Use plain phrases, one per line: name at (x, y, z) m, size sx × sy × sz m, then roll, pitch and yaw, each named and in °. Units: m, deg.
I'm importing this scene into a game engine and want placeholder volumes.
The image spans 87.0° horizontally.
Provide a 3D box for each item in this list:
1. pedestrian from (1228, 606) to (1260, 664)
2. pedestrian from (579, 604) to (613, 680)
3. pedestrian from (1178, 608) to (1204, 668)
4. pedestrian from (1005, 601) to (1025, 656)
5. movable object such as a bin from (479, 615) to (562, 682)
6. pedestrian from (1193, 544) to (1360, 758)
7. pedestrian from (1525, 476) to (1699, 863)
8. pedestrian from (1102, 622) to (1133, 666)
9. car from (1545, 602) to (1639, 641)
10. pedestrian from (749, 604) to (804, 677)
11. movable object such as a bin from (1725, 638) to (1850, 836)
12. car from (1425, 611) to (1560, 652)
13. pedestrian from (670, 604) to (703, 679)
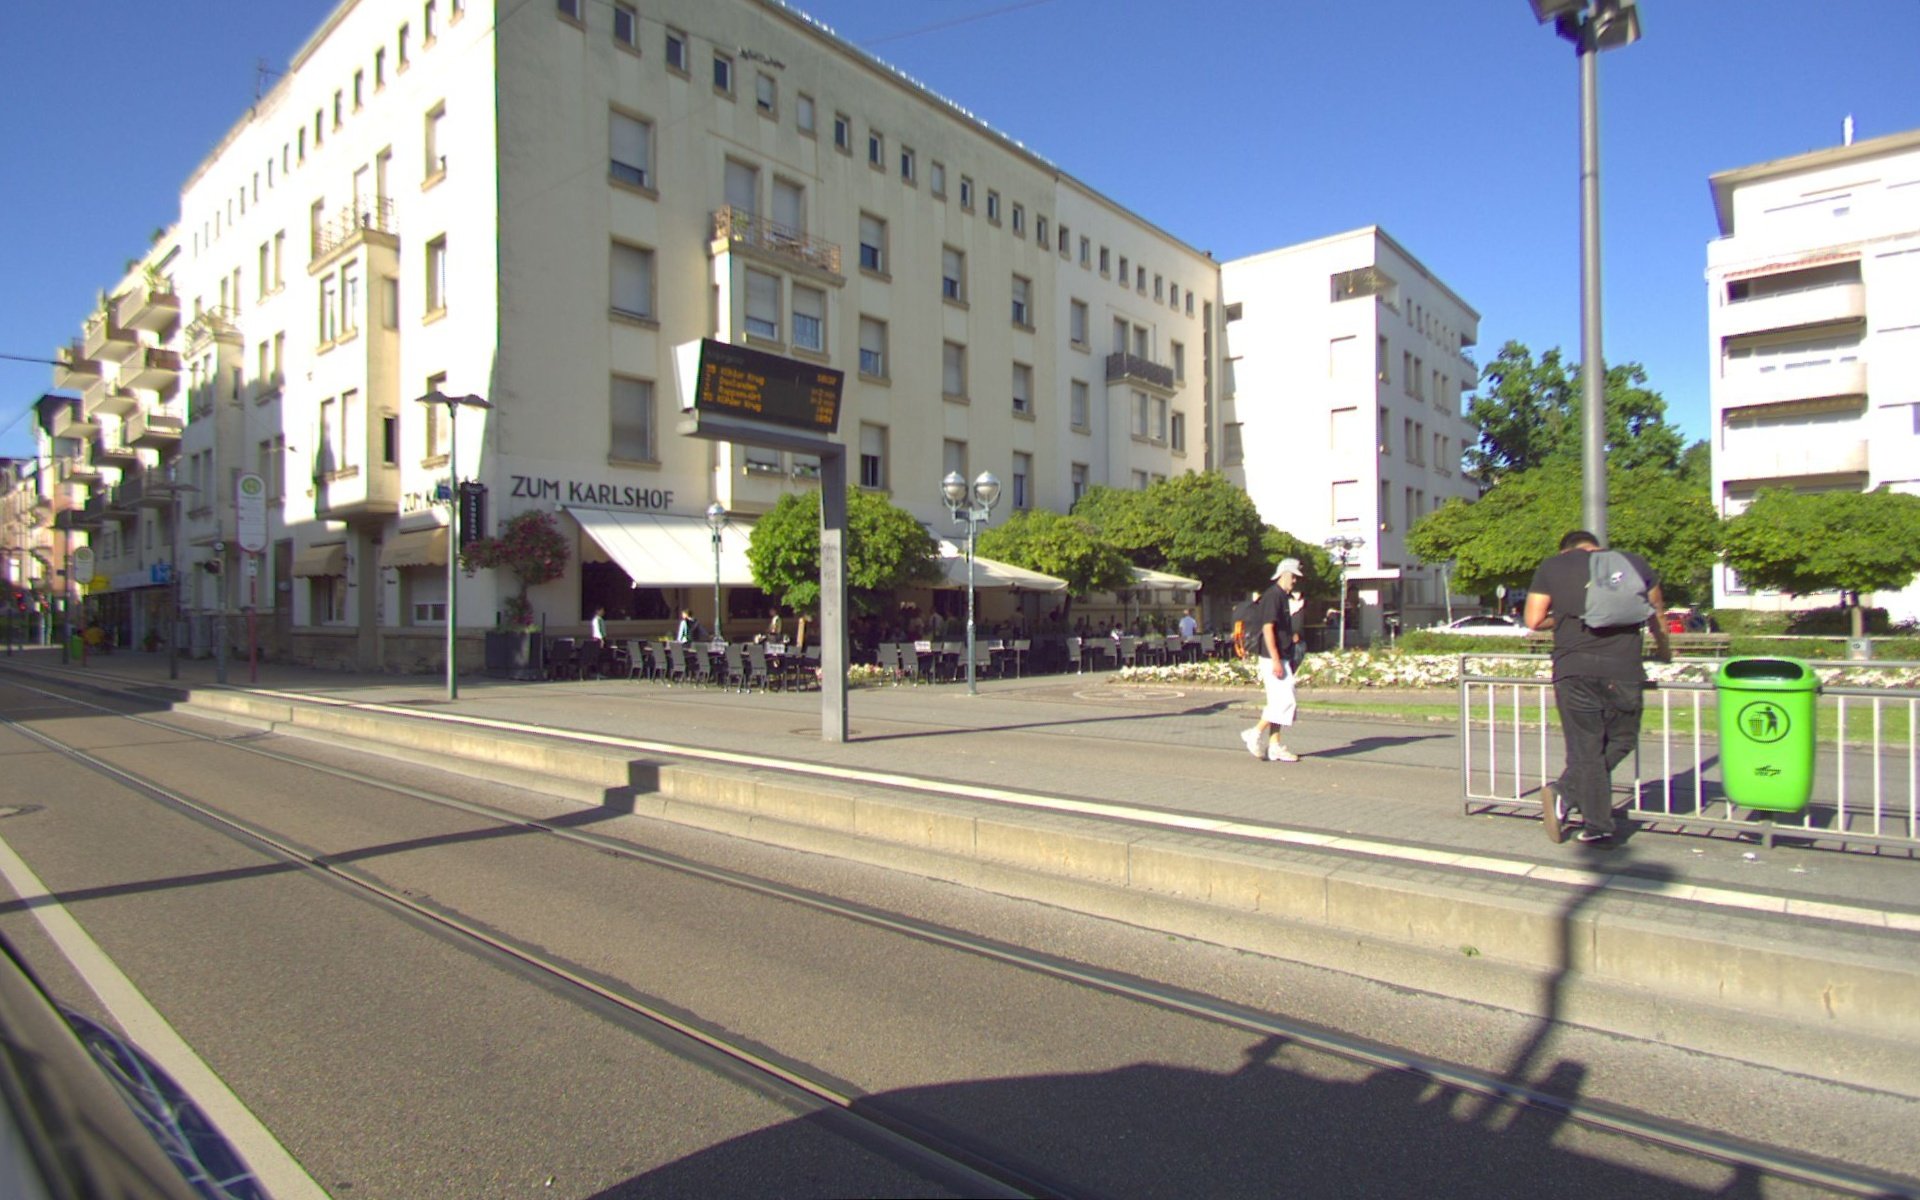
pedestrian at (8.800, 1.100, 31.381) m, size 0.710 × 1.750 × 0.673 m, roll -2°, pitch -4°, yaw 1°
pedestrian at (-8.134, 0.936, 22.598) m, size 0.662 × 1.657 × 0.753 m, roll 0°, pitch -4°, yaw -22°
pedestrian at (6.993, 1.163, 30.672) m, size 0.677 × 1.750 × 0.671 m, roll -3°, pitch -4°, yaw 14°
pedestrian at (1.853, 0.959, 34.041) m, size 0.641 × 1.837 × 0.576 m, roll -1°, pitch -1°, yaw 5°
movable object such as a bin at (-9.535, 1.030, 21.986) m, size 1.127 × 1.410 × 1.302 m, roll -1°, pitch -1°, yaw 40°
pedestrian at (2.654, 0.423, 8.591) m, size 0.958 × 1.693 × 0.998 m, roll 1°, pitch -2°, yaw -12°
pedestrian at (3.180, 0.322, 4.943) m, size 0.607 × 1.731 × 0.542 m, roll -2°, pitch -3°, yaw 43°
pedestrian at (4.722, 1.326, 30.319) m, size 0.672 × 1.280 × 0.636 m, roll -5°, pitch -5°, yaw 36°
car at (24.926, 0.845, 39.949) m, size 2.932 × 1.497 × 1.399 m, roll -2°, pitch -1°, yaw 41°
pedestrian at (-4.305, 0.935, 23.769) m, size 0.755 × 1.657 × 1.054 m, roll -1°, pitch -1°, yaw 36°
movable object such as a bin at (3.889, 0.617, 4.757) m, size 0.416 × 0.866 × 0.332 m, roll -2°, pitch -2°, yaw 44°
car at (18.077, 1.057, 34.396) m, size 3.713 × 1.310 × 1.973 m, roll -1°, pitch -1°, yaw 41°
pedestrian at (-6.181, 0.946, 22.929) m, size 0.663 × 1.657 × 0.678 m, roll -1°, pitch -4°, yaw -12°
